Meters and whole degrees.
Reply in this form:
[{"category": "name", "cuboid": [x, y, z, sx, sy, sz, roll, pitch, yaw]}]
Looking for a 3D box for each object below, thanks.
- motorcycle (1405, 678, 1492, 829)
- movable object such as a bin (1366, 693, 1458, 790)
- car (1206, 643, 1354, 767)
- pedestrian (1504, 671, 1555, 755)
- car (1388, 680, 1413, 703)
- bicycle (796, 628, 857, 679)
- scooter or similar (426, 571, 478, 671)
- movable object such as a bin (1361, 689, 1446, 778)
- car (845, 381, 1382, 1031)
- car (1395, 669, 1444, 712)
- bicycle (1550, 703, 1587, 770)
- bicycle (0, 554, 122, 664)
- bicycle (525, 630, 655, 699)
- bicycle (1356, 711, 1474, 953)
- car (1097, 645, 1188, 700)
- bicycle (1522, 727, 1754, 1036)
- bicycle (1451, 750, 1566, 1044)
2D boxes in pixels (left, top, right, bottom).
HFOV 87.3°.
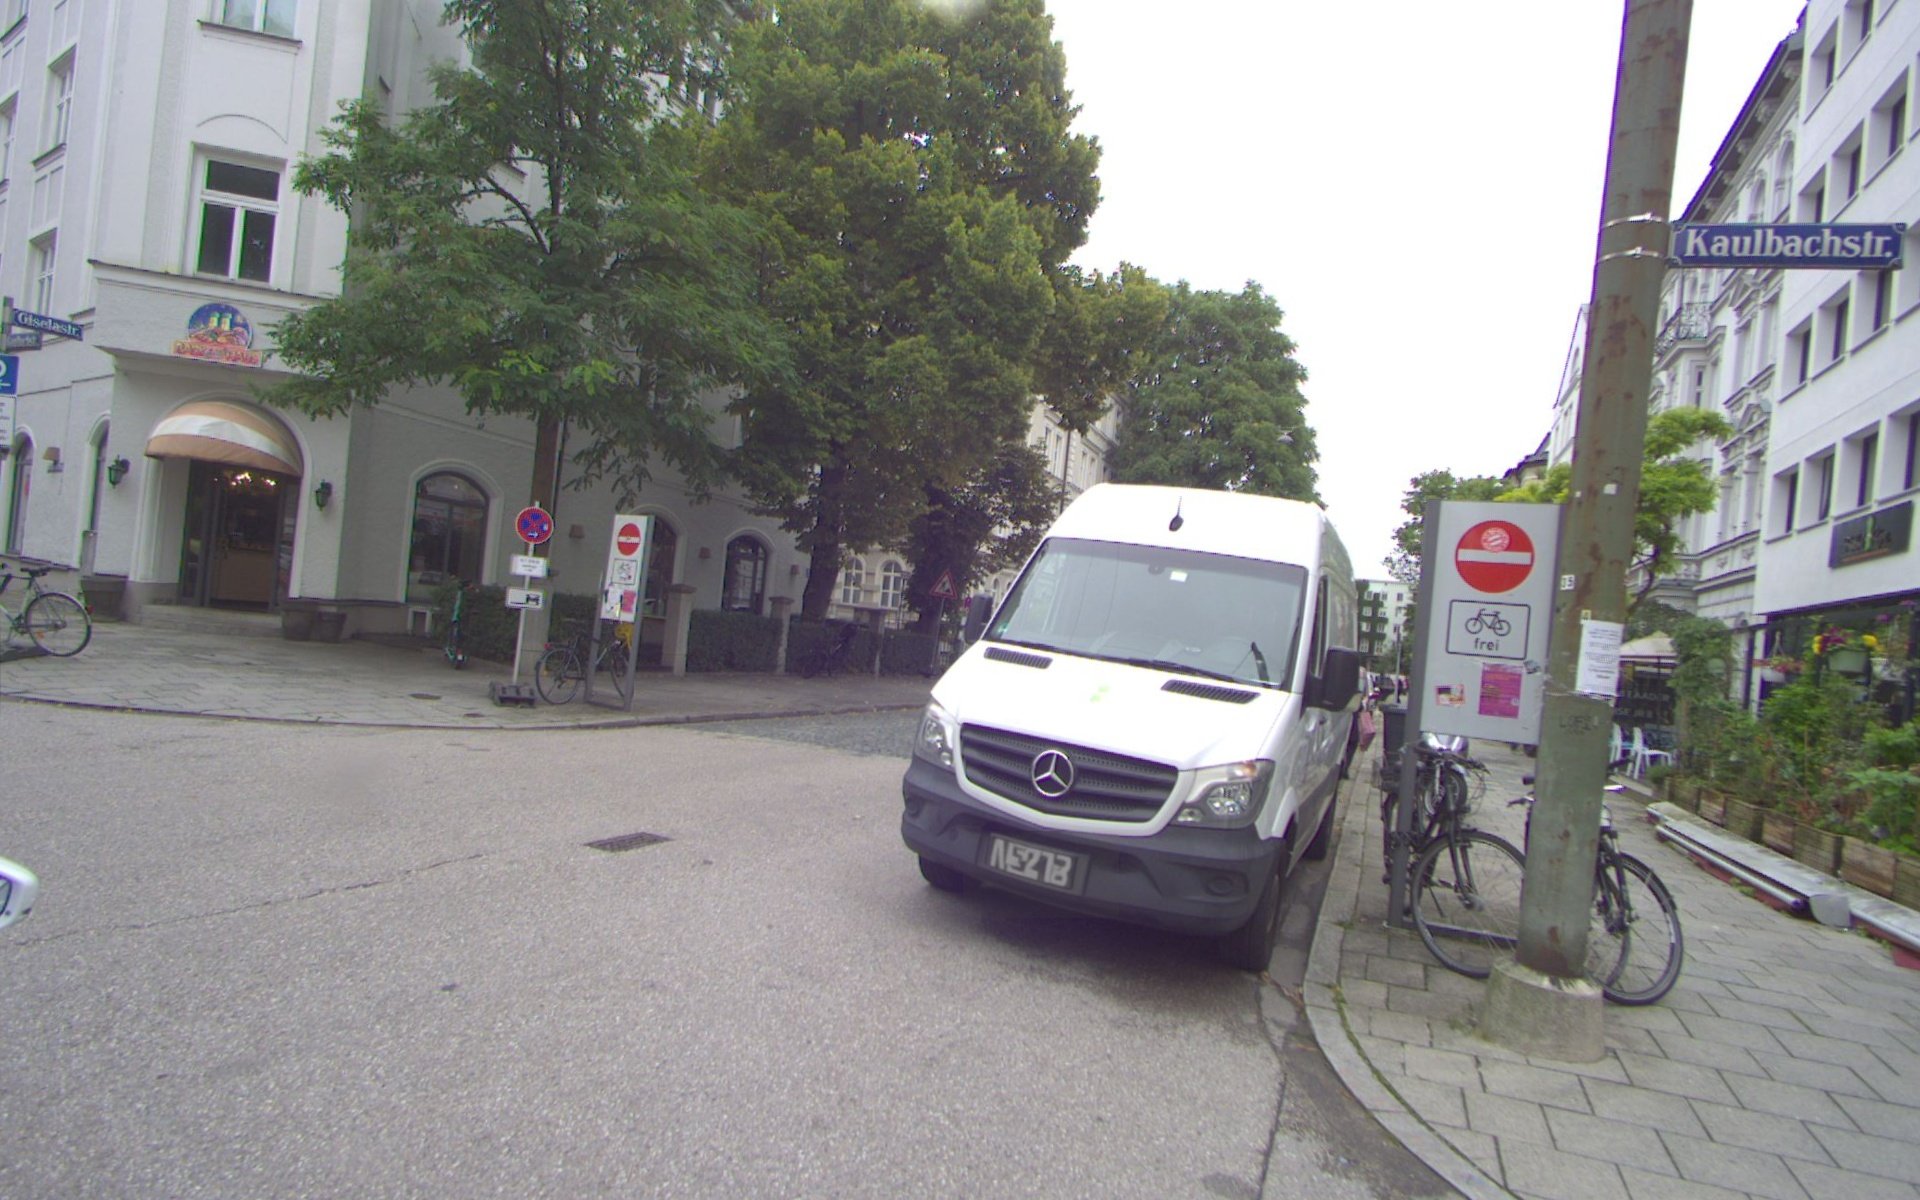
[{"category": "motorcycle", "cuboid": [5.281, 1.582, 10.925, 0.647, 1.401, 2.177, 6, -1, 25]}, {"category": "movable object such as a bin", "cuboid": [6.193, 1.912, 13.844, 0.990, 1.124, 1.098, 6, -1, 21]}, {"category": "car", "cuboid": [5.545, 1.709, 17.060, 1.779, 1.587, 4.252, 7, -1, 24]}, {"category": "pedestrian", "cuboid": [12.464, 2.462, 22.007, 0.715, 1.736, 0.685, 6, -1, 41]}, {"category": "car", "cuboid": [44.199, 9.166, 101.005, 1.964, 2.037, 4.511, 6, -2, 23]}, {"category": "bicycle", "cuboid": [-2.815, 1.149, 21.344, 0.423, 0.959, 1.460, 9, 0, 27]}, {"category": "scooter or similar", "cuboid": [-7.245, 0.274, 14.327, 0.424, 1.295, 1.268, 7, 0, -32]}, {"category": "movable object such as a bin", "cuboid": [6.557, 1.956, 14.933, 0.990, 1.124, 1.098, 6, -1, 21]}, {"category": "car", "cuboid": [1.706, 0.548, 7.212, 2.022, 2.622, 5.911, 7, -1, 24]}, {"category": "car", "cuboid": [22.996, 4.517, 50.473, 1.964, 1.837, 4.000, 6, -2, 23]}, {"category": "bicycle", "cuboid": [11.429, 2.546, 18.911, 0.464, 1.141, 1.413, 6, -1, 31]}, {"category": "bicycle", "cuboid": [-10.135, 0.074, 10.954, 1.722, 1.012, 0.540, 6, 3, 10]}, {"category": "bicycle", "cuboid": [-4.668, 0.825, 12.744, 0.536, 0.793, 1.411, 6, 0, 41]}, {"category": "bicycle", "cuboid": [2.543, 1.226, 5.719, 0.363, 1.084, 1.508, 6, -1, 19]}, {"category": "car", "cuboid": [5.695, 2.242, 30.946, 1.779, 1.455, 4.056, 3, -3, 24]}, {"category": "bicycle", "cuboid": [3.414, 1.312, 5.233, 0.581, 1.141, 1.907, 6, -1, 24]}, {"category": "bicycle", "cuboid": [2.641, 1.361, 4.909, 0.334, 1.141, 1.181, 6, -1, 26]}]
